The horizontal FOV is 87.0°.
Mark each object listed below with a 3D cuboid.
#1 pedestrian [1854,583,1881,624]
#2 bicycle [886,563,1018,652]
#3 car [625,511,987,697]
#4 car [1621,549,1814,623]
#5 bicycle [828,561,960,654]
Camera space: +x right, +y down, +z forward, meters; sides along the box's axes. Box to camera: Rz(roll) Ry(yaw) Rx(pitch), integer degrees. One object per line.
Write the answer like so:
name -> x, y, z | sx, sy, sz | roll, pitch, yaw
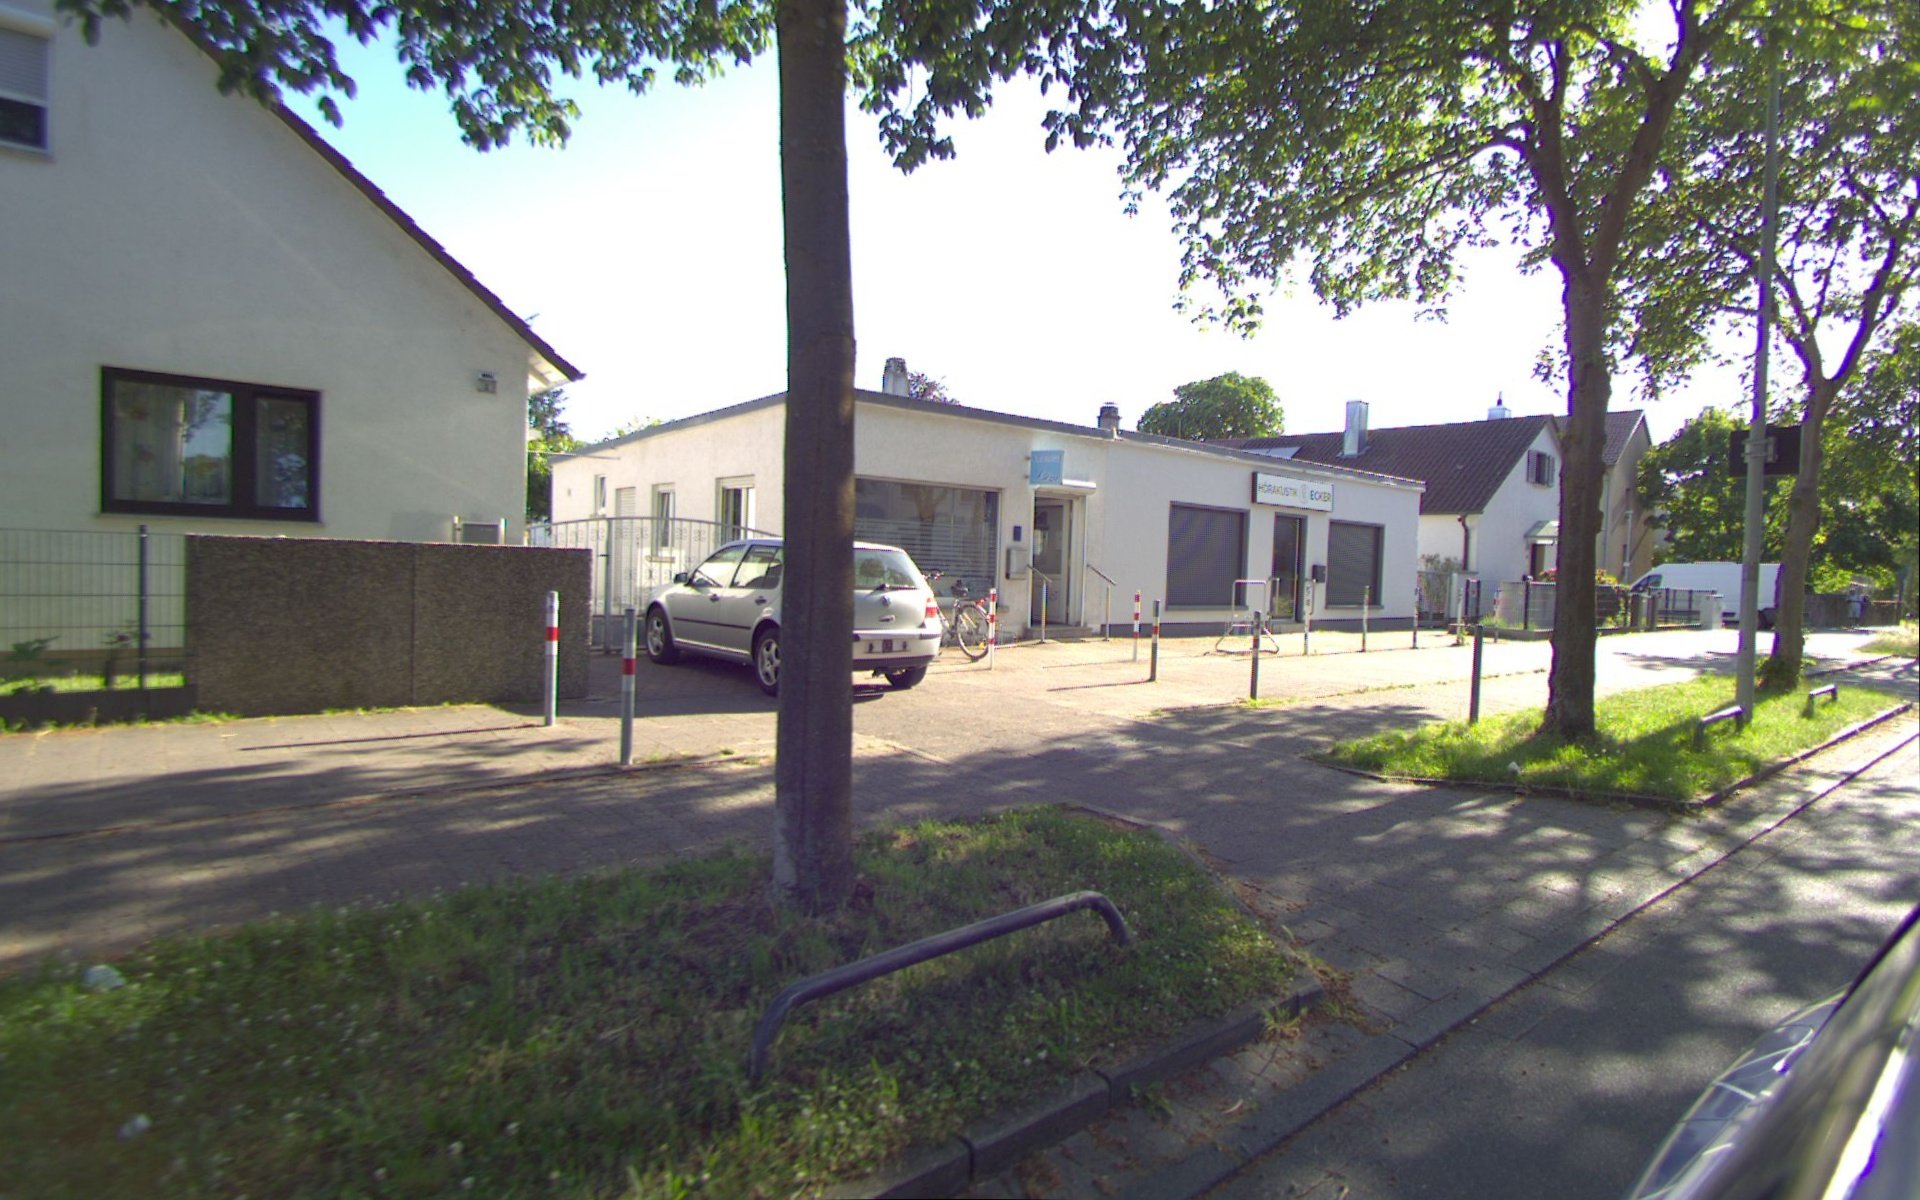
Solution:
pedestrian -> 39.089, 0.150, 43.595 | 0.601, 1.726, 0.638 | 2, 3, -41
bicycle -> -0.143, 0.075, 13.436 | 0.566, 1.010, 1.962 | 2, 3, -41
car -> -1.779, -0.077, 10.622 | 1.868, 1.507, 3.997 | 2, 3, -41
car -> 29.236, -0.597, 39.235 | 2.227, 2.570, 5.603 | 1, 2, -43
bicycle -> -0.868, 0.068, 12.792 | 0.566, 1.010, 1.928 | 2, 3, -41
